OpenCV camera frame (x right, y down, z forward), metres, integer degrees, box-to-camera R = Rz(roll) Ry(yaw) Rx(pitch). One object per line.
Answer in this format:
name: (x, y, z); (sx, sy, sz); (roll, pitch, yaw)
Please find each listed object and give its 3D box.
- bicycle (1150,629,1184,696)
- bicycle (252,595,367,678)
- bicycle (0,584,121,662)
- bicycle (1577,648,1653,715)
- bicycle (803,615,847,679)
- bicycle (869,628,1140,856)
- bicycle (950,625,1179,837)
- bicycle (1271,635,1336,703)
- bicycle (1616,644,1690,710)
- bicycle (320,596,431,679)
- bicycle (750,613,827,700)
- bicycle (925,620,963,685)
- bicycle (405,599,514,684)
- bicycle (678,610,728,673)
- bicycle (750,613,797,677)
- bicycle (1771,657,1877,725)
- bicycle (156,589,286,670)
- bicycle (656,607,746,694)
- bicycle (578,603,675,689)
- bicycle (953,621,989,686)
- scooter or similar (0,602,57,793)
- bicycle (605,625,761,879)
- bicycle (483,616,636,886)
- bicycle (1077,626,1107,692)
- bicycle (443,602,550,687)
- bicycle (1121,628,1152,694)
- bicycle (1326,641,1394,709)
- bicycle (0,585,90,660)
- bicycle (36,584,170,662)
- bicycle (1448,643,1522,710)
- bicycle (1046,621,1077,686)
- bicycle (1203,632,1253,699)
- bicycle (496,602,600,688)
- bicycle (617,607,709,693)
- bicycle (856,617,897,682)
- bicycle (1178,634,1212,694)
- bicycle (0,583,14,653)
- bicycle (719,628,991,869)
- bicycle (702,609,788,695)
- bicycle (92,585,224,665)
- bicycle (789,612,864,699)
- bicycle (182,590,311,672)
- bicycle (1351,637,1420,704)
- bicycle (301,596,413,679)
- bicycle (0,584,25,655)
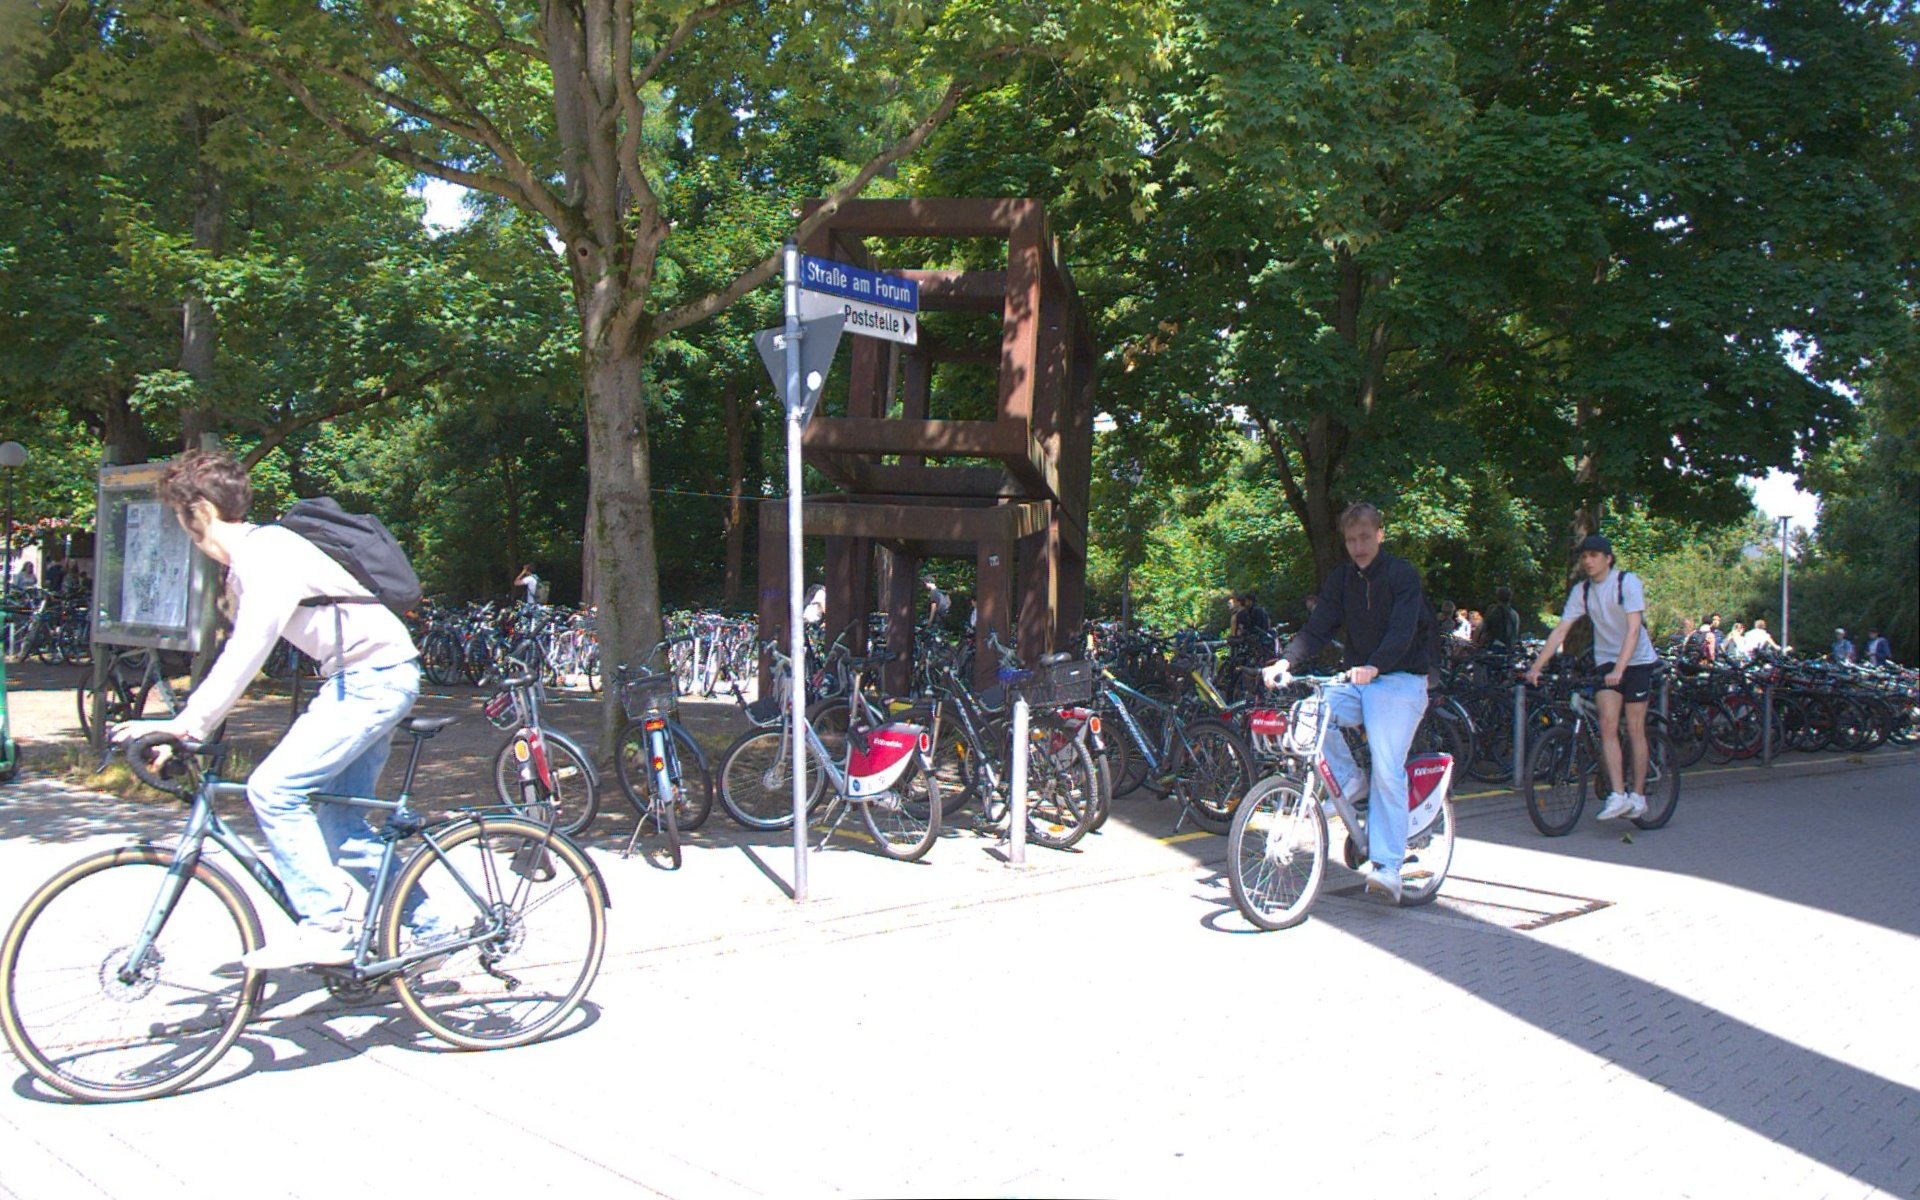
bicycle: (3.635, 1.081, 29.130); (0.463, 1.102, 1.700); (3, -1, 5)
bicycle: (-9.429, 0.527, 24.065); (0.490, 1.127, 2.032); (3, -1, 11)
bicycle: (-13.878, 0.360, 25.355); (0.491, 1.127, 2.031); (3, -1, 16)
bicycle: (11.809, 1.456, 29.862); (0.464, 1.102, 1.696); (3, -1, -8)
bicycle: (-2.440, 0.847, 29.986); (0.463, 1.102, 1.700); (3, -1, 5)
bicycle: (0.221, 0.749, 9.304); (1.602, 1.127, 0.493); (2, 1, 44)
bicycle: (0.595, 0.740, 10.018); (0.491, 1.127, 1.610); (1, 1, -34)
bicycle: (6.082, 1.212, 29.395); (0.464, 1.102, 1.695); (3, -1, -11)
bicycle: (12.550, 1.379, 29.984); (0.463, 1.102, 1.698); (3, -1, -5)
bicycle: (-8.397, 0.535, 23.864); (0.490, 1.127, 2.032); (3, -1, 11)
bicycle: (-2.365, 0.770, 22.985); (0.490, 1.127, 1.908); (3, -1, 11)
bicycle: (-0.282, 0.924, 29.682); (0.463, 1.102, 1.700); (3, -1, 5)
bicycle: (-7.093, 0.583, 23.546); (0.490, 1.127, 2.007); (3, -1, 13)
bicycle: (-4.689, 0.751, 30.288); (0.463, 1.102, 1.700); (3, -1, 5)
bicycle: (-3.388, 0.809, 30.166); (0.463, 1.102, 1.700); (3, -1, 5)
bicycle: (15.943, 1.670, 30.558); (0.468, 1.129, 1.680); (4, -1, -33)
bicycle: (-10.910, 0.449, 24.502); (0.491, 1.127, 2.031); (3, -1, 16)
bicycle: (-3.579, 0.693, 23.036); (0.490, 1.127, 1.908); (3, -1, 13)
bicycle: (-4.684, 0.642, 23.369); (0.490, 1.127, 2.007); (3, -1, 13)
bicycle: (0.210, 0.939, 29.576); (0.463, 1.102, 1.700); (3, -1, 5)
scooter or similar: (-6.305, 0.622, 10.834); (0.286, 1.216, 1.182); (2, -1, -11)
bicycle: (-1.477, 0.726, 8.614); (0.579, 1.127, 1.738); (1, 1, -17)
bicycle: (-2.055, 0.697, 8.362); (0.627, 1.179, 1.622); (1, 1, -17)
bicycle: (2.348, 1.031, 29.461); (0.463, 1.102, 1.700); (3, -1, 5)
bicycle: (-6.530, 0.621, 23.399); (0.490, 1.127, 2.007); (3, -1, 13)
bicycle: (3.125, 1.062, 29.368); (0.463, 1.102, 1.700); (3, -1, 5)
bicycle: (7.080, 1.321, 29.324); (0.464, 1.102, 1.695); (3, -1, -11)
bicycle: (-14.468, 0.349, 25.534); (0.491, 1.127, 2.031); (3, -1, 16)
bicycle: (-13.061, 0.360, 25.278); (0.491, 1.127, 2.031); (3, -1, 16)
bicycle: (9.371, 1.349, 29.558); (0.464, 1.102, 1.695); (3, -1, -11)
bicycle: (1.814, 0.944, 29.518); (0.463, 1.102, 1.700); (3, -1, 5)
bicycle: (4.768, 1.153, 29.464); (0.463, 1.102, 1.698); (3, -1, -3)
bicycle: (-5.787, 0.631, 23.331); (0.490, 1.127, 2.007); (3, -1, 13)
bicycle: (-4.163, 0.698, 23.287); (0.490, 1.127, 1.908); (3, -1, 13)
bicycle: (-1.491, 0.881, 29.804); (0.463, 1.102, 1.700); (3, -1, 5)
bicycle: (4.121, 1.113, 29.104); (0.441, 0.978, 1.741); (3, -1, 5)
bicycle: (-16.046, 0.263, 26.176); (0.491, 1.127, 2.031); (3, -1, 16)
bicycle: (-0.596, 0.740, 8.859); (1.602, 1.127, 0.493); (2, 1, 44)
bicycle: (-2.999, 0.719, 23.193); (0.490, 1.127, 1.908); (3, -1, 13)
bicycle: (-12.016, 0.387, 24.856); (0.491, 1.127, 2.031); (3, -1, 16)
bicycle: (-1.830, 0.761, 22.965); (0.490, 1.127, 1.908); (3, -1, 11)
bicycle: (-10.429, 0.462, 24.270); (0.491, 1.127, 2.031); (3, -1, 16)
bicycle: (7.568, 1.235, 29.463); (0.464, 1.102, 1.695); (3, -1, -11)
bicycle: (-8.688, 0.536, 23.923); (0.490, 1.127, 2.032); (3, -1, 11)
bicycle: (-15.773, 0.282, 26.003); (0.491, 1.127, 2.031); (3, -1, 16)
